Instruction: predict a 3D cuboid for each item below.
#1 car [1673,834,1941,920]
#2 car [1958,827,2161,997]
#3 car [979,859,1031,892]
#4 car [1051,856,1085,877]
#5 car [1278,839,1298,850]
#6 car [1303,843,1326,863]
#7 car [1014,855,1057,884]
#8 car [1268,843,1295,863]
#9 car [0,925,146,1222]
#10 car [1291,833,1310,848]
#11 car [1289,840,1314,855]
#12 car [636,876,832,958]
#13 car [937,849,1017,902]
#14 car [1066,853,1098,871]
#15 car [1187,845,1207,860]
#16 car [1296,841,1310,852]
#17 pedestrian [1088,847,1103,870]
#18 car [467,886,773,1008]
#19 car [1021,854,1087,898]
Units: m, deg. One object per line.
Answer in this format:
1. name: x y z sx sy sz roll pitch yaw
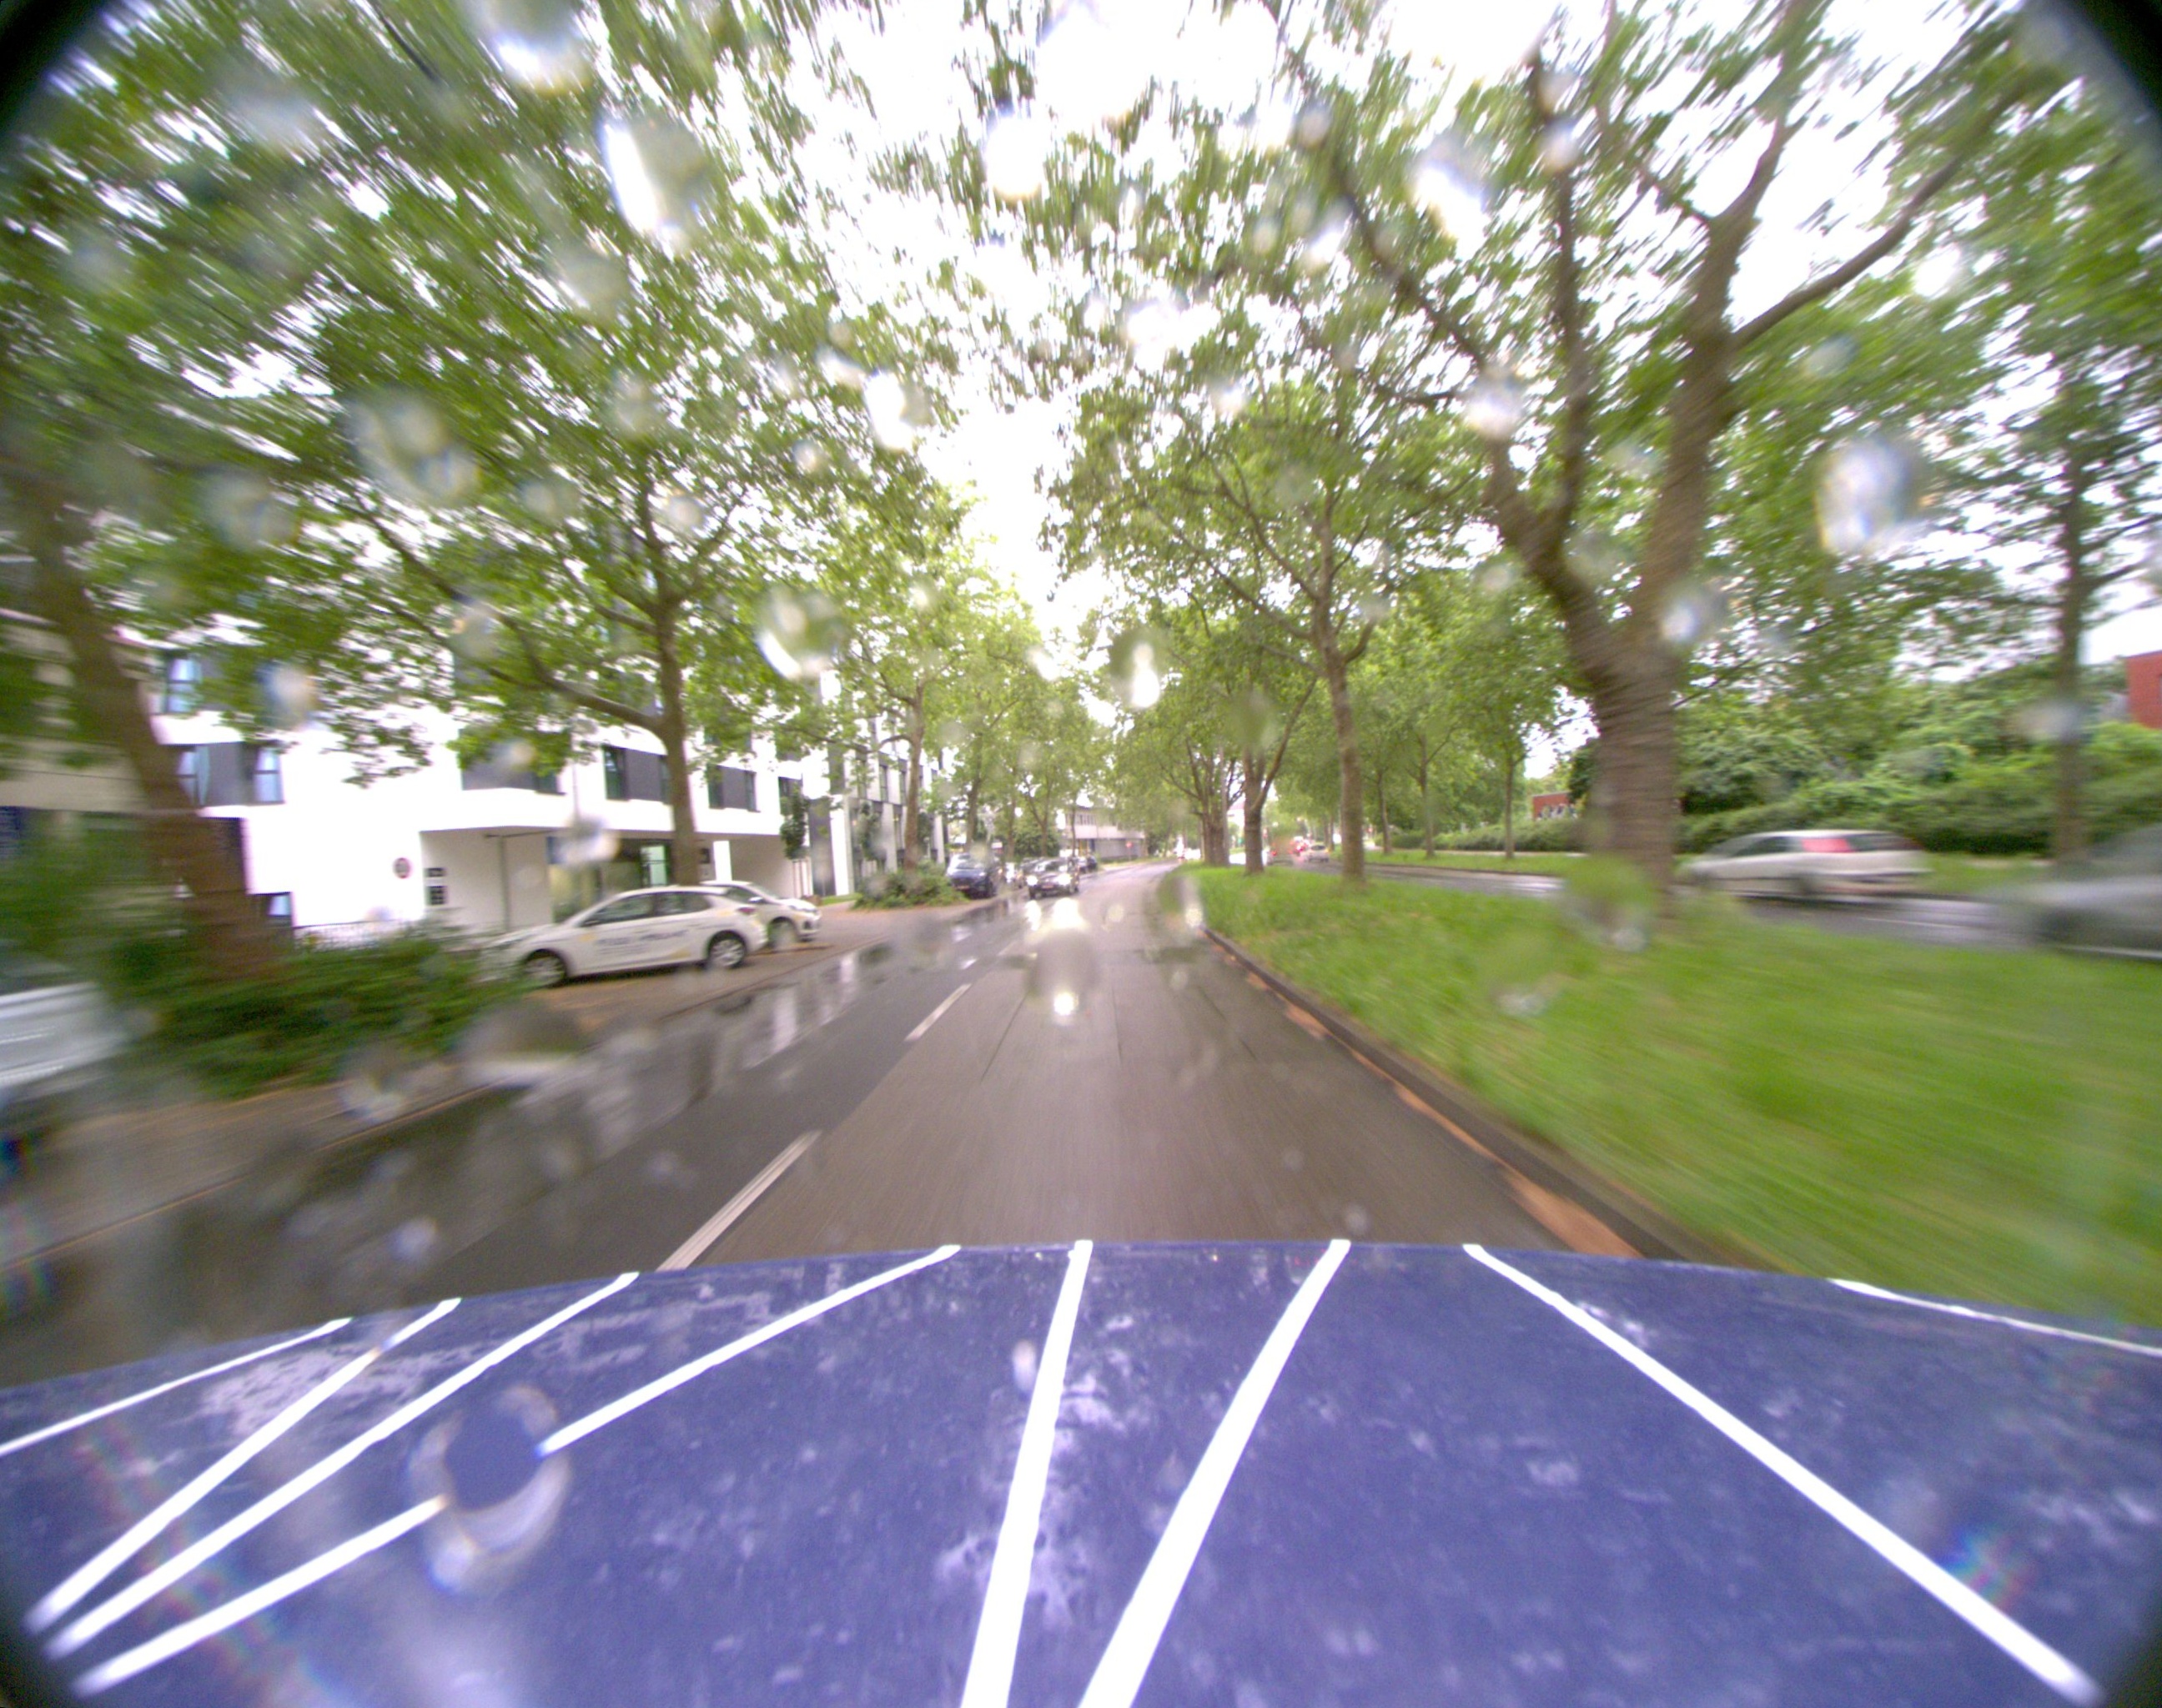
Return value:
1. car: 14.887 0.406 15.963 1.747 1.468 4.082 -4 0 2
2. car: 11.329 0.550 6.860 1.748 1.582 4.329 -4 0 -1
3. car: -3.963 1.089 40.514 1.747 1.460 4.307 -4 0 7
4. car: -0.978 0.946 60.045 1.746 1.420 5.106 -4 0 9
5. car: 36.159 -1.657 132.783 2.031 1.726 4.962 -3 1 31
6. car: 19.529 -0.097 63.608 1.746 1.451 3.846 -4 1 16
7. car: -2.766 0.927 47.021 1.747 1.557 4.373 -4 0 7
8. car: 15.769 -0.107 59.945 1.746 1.468 4.413 -4 0 11
9. car: -7.853 1.350 3.494 4.043 1.530 1.745 -4 1 -30
10. car: 35.869 -2.191 124.088 2.032 2.213 5.442 -3 1 24
11. car: 25.933 -0.799 89.198 1.745 1.552 4.375 -3 1 29
12. car: -7.676 1.362 17.144 3.647 1.495 1.747 -3 -1 -12
13. car: -4.578 0.894 34.393 2.125 2.016 5.530 -4 0 7
14. car: 0.127 0.662 66.506 1.746 1.420 4.863 -1 1 12
15. car: 15.412 -0.225 101.013 1.996 1.620 4.526 -4 1 15
16. car: 38.486 -1.251 131.516 1.996 1.622 4.336 -4 1 20
17. pedestrian: 1.300 0.383 67.610 0.901 2.002 0.831 -4 1 -26
18. car: -7.462 1.419 12.720 4.043 1.420 1.745 -4 1 -28
19. car: -1.112 0.933 34.461 1.997 1.585 5.592 -4 1 7
